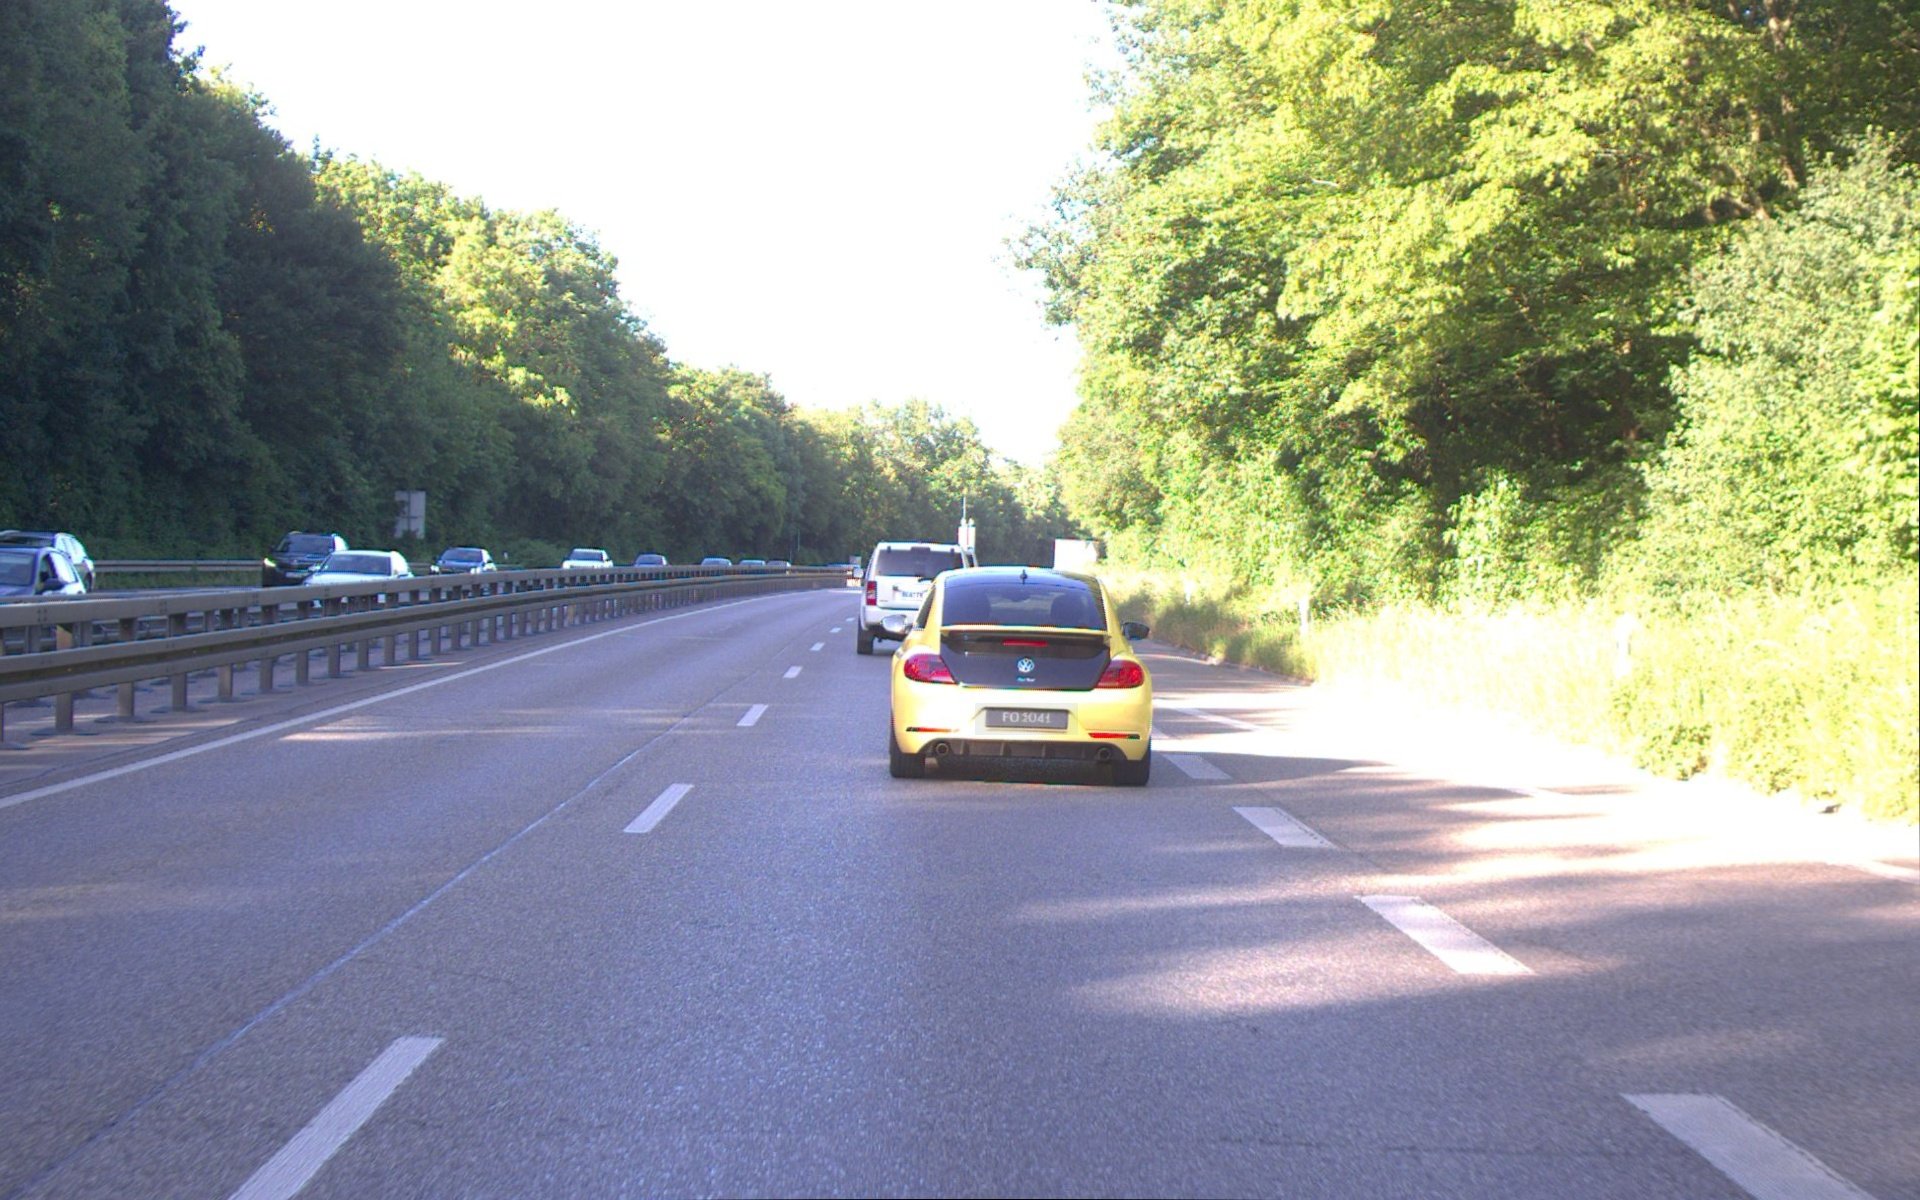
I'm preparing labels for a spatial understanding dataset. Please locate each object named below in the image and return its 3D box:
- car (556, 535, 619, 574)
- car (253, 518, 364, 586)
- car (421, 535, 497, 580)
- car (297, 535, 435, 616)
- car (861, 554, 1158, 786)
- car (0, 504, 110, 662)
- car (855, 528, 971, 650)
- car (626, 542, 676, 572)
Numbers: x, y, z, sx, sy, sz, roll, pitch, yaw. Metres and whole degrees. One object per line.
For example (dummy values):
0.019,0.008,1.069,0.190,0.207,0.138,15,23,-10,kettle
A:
-15.974,-1.937,147.658,1.994,1.617,4.789,0,0,2,car
-16.908,-1.236,89.435,1.993,1.693,4.908,0,0,-1,car
-16.841,-1.430,115.716,1.993,1.481,4.000,0,0,-1,car
-11.870,-0.496,68.972,1.993,1.554,4.707,0,0,-1,car
0.413,0.448,24.356,1.939,1.503,3.422,1,0,3,car
-11.794,-0.220,42.138,1.788,1.853,4.000,0,0,-1,car
-0.745,-0.187,53.787,1.741,1.823,3.423,1,1,-1,car
-15.236,-2.109,169.723,1.993,1.459,4.000,0,0,1,car
